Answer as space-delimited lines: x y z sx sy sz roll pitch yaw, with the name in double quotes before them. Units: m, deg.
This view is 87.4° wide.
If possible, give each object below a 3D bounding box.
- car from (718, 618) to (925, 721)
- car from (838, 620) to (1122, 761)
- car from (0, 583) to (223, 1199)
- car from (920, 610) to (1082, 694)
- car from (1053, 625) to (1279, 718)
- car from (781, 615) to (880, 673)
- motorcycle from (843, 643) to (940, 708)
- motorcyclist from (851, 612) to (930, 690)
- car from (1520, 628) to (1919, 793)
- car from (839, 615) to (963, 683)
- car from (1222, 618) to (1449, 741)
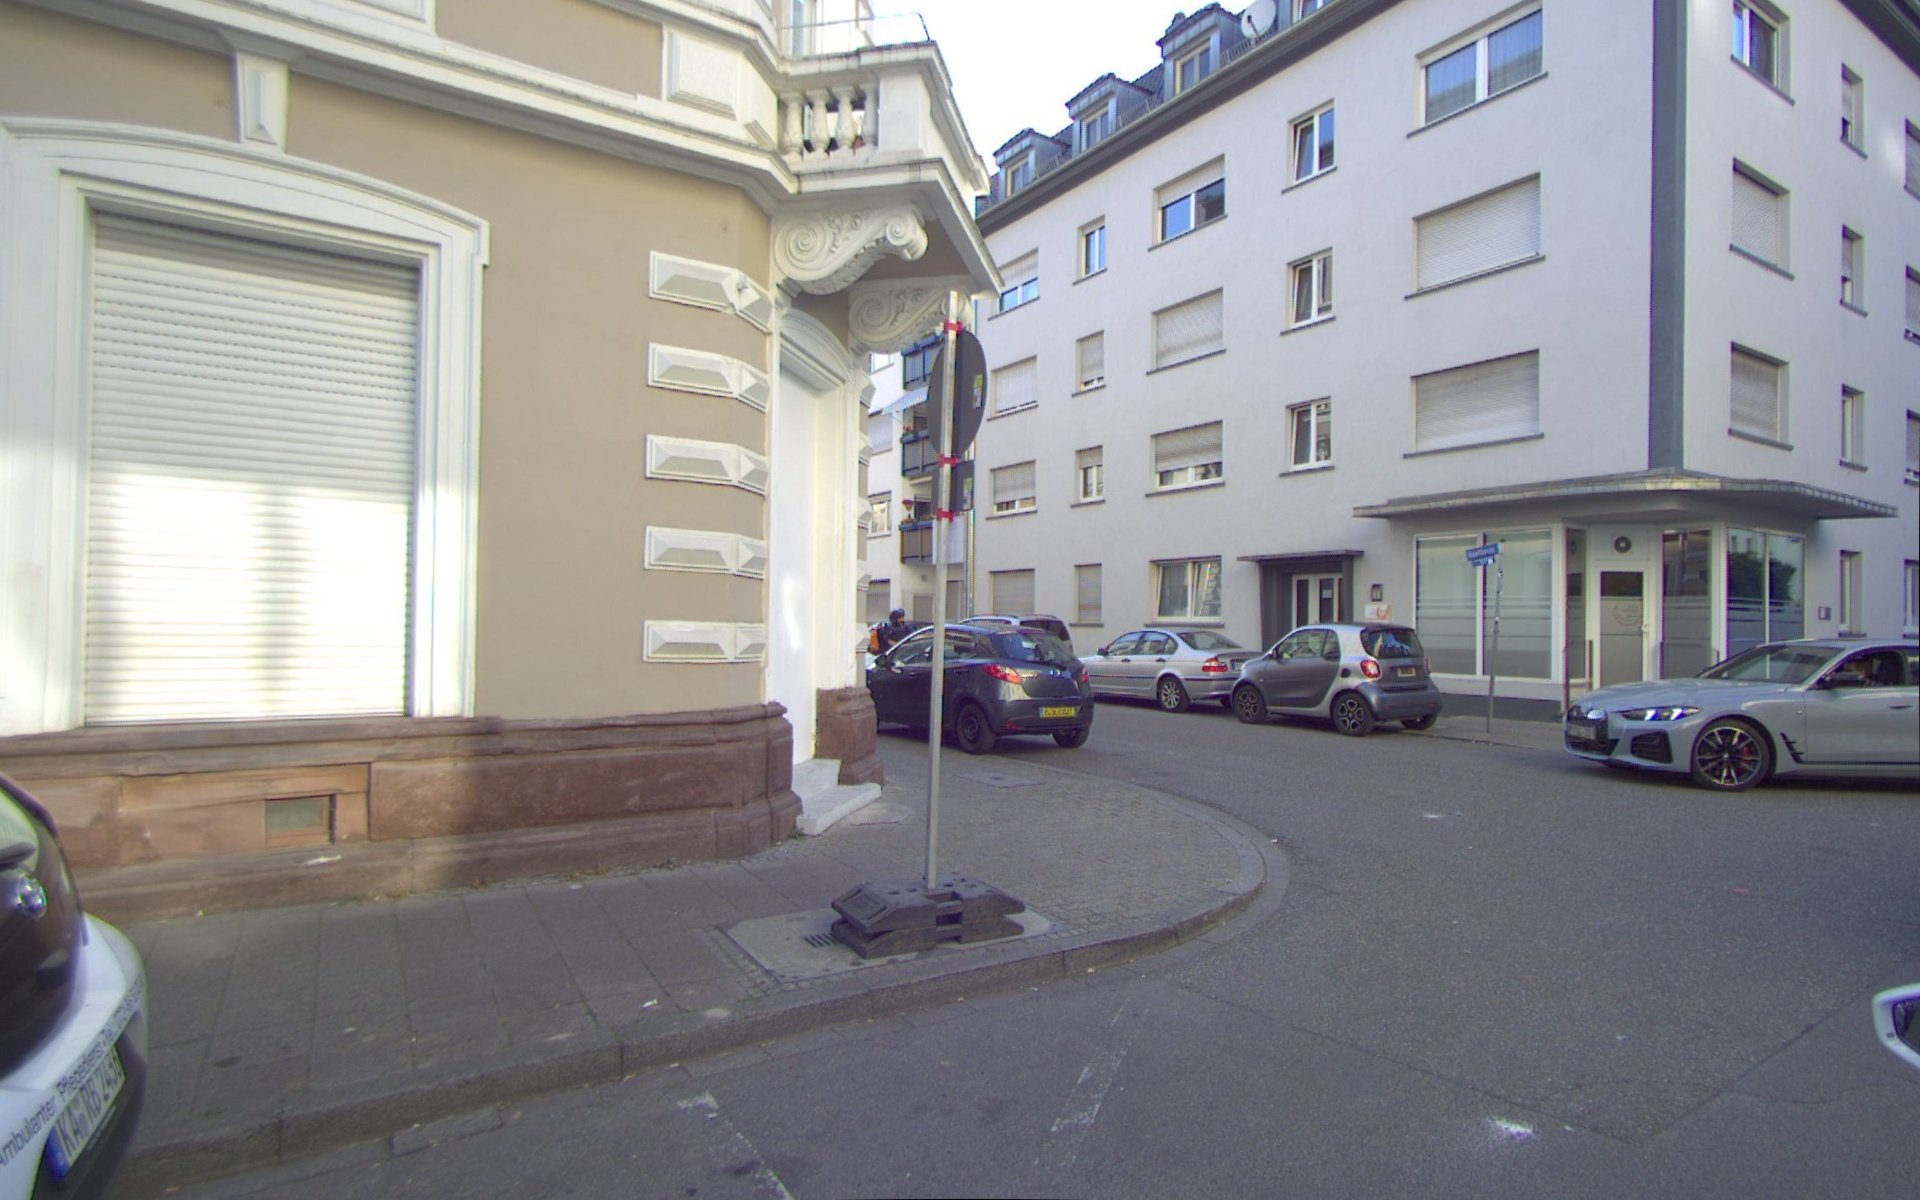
"car" -2.454 1.052 16.829 1.884 1.481 4.286 1 -1 -32
"car" 0.120 0.997 12.565 1.713 1.470 3.639 1 -1 -36
"car" -3.443 0.761 0.958 4.218 1.527 1.911 1 -3 -31
"car" 0.813 1.085 22.476 1.586 1.626 3.993 1 0 -33
"car" 3.636 1.218 18.431 1.586 1.422 4.179 2 -1 -33
"car" -3.958 1.277 30.265 1.586 1.560 3.470 1 0 -33
"motorcycle" -1.254 1.316 18.027 0.961 1.042 1.980 1 -1 -31
"motorcyclist" -1.258 0.899 18.034 0.961 1.347 1.218 1 -1 -31
"car" 8.561 1.049 10.155 4.716 1.470 1.934 1 -1 1
"car" -1.610 1.232 26.286 1.587 1.560 3.685 1 0 -34
"car" 5.483 1.089 14.898 1.576 1.560 2.771 1 0 -31
